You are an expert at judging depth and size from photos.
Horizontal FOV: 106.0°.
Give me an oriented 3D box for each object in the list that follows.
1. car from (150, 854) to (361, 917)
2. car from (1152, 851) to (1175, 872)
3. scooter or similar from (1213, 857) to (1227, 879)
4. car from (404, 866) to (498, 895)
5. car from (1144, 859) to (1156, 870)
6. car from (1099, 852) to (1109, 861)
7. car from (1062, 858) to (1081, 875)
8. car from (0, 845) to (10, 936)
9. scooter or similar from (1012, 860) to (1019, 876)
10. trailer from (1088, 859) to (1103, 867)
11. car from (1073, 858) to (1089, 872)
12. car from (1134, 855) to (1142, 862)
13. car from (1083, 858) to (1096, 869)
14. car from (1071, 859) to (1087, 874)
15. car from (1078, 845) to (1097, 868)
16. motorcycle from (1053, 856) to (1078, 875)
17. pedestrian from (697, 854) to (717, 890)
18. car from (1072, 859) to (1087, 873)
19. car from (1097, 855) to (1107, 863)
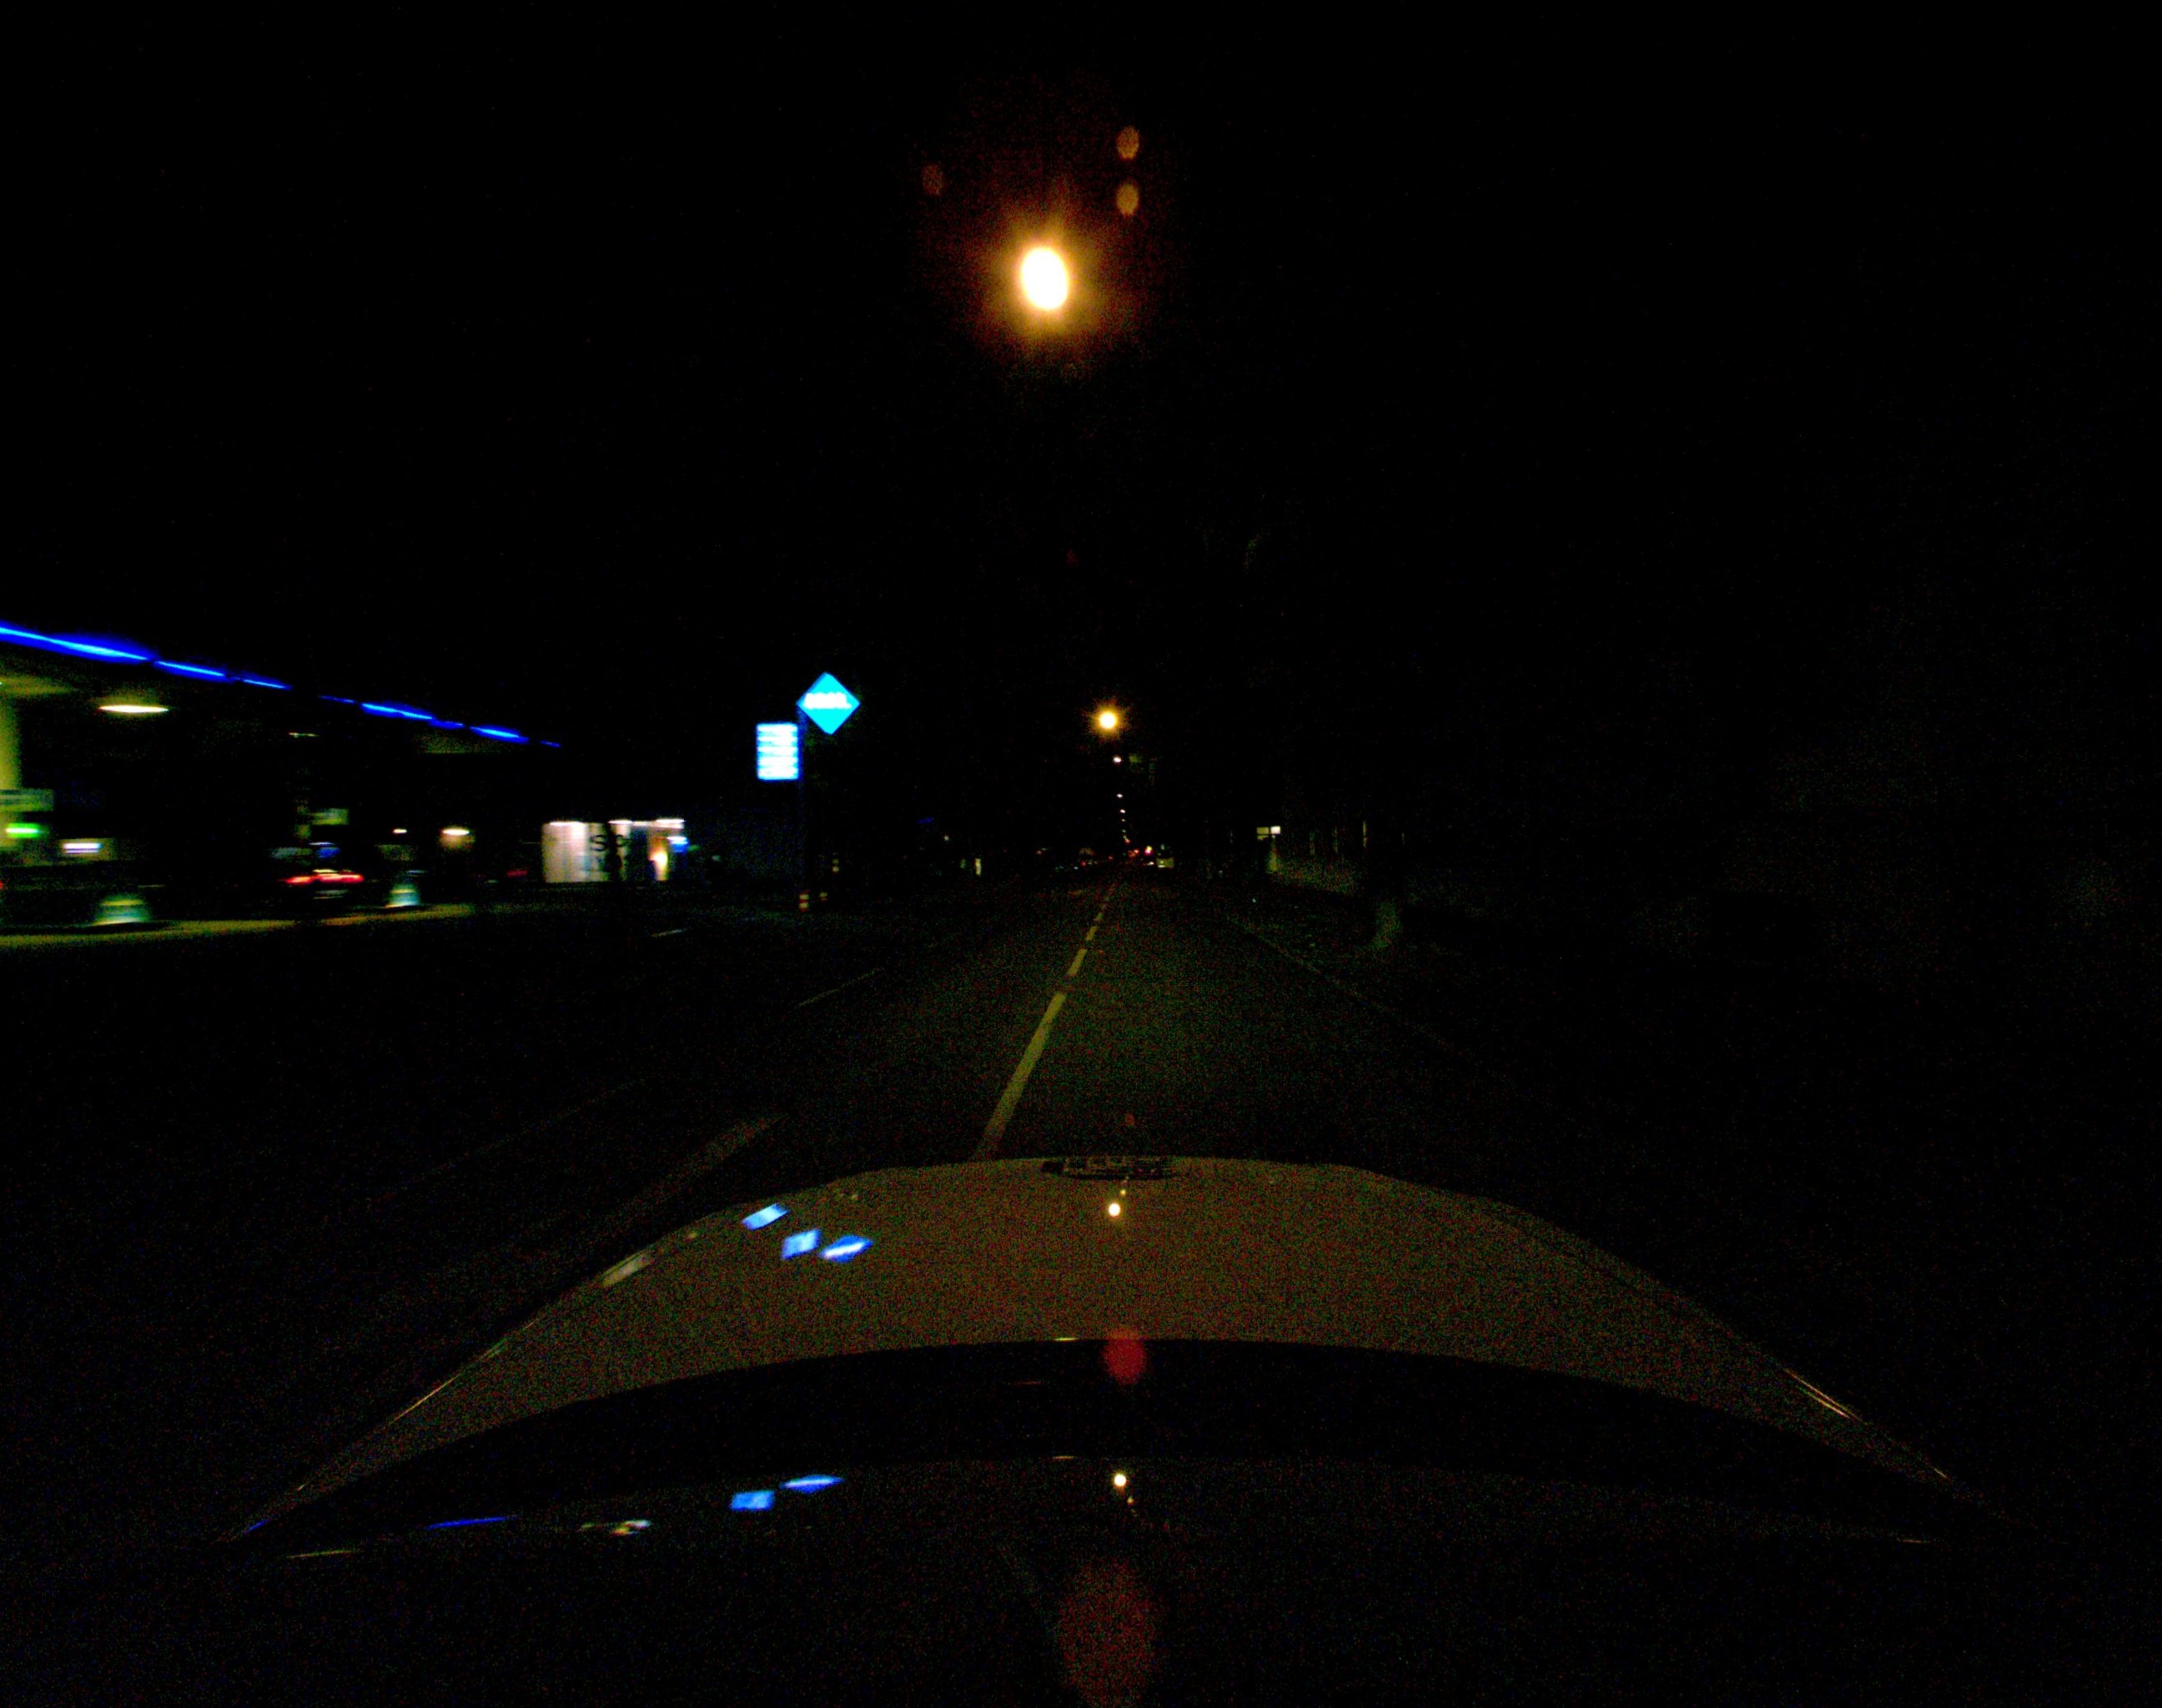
[{"bbox_3d":[-21.099,0.780,20.910,3.735,1.533,1.671,0,0,2],"label":"car"},{"bbox_3d":[7.938,0.745,78.691,1.943,1.964,4.605,0,0,2],"label":"car"},{"bbox_3d":[7.807,0.780,45.695,0.545,1.203,1.912,1,-1,3],"label":"scooter or similar"},{"bbox_3d":[-29.222,1.215,37.809,3.135,1.265,1.576,-1,0,2],"label":"car"},{"bbox_3d":[10.327,1.519,120.863,1.660,1.429,4.154,-3,-1,5],"label":"car"},{"bbox_3d":[4.900,0.597,174.984,1.814,1.811,4.215,2,0,4],"label":"car"},{"bbox_3d":[-0.870,1.155,77.268,1.636,1.504,3.906,1,0,2],"label":"car"},{"bbox_3d":[-22.744,0.669,14.672,4.328,1.727,1.980,0,0,2],"label":"car"},{"bbox_3d":[-5.015,1.100,62.354,0.365,1.204,1.428,-1,-1,3],"label":"scooter or similar"},{"bbox_3d":[2.413,1.458,134.568,2.101,1.335,5.441,2,0,4],"label":"trailer"},{"bbox_3d":[0.002,1.259,93.445,1.639,1.505,3.862,1,0,1],"label":"car"},{"bbox_3d":[13.326,1.067,191.624,1.845,1.654,4.213,-1,0,4],"label":"car"},{"bbox_3d":[1.195,1.356,116.073,1.735,1.606,4.299,0,0,1],"label":"car"},{"bbox_3d":[-0.208,1.280,83.467,1.439,1.429,3.906,2,0,2],"label":"car"},{"bbox_3d":[0.870,0.337,105.176,2.170,2.909,4.913,1,0,2],"label":"car"},{"bbox_3d":[-1.295,0.961,67.842,1.906,1.550,0.636,1,-1,-17],"label":"motorcycle"},{"bbox_3d":[-16.869,0.798,36.731,0.573,1.606,0.643,0,-1,1],"label":"pedestrian"},{"bbox_3d":[-0.148,1.270,88.308,1.541,1.455,3.370,1,0,2],"label":"car"},{"bbox_3d":[4.407,1.014,168.632,1.692,1.433,3.833,2,0,5],"label":"car"}]
